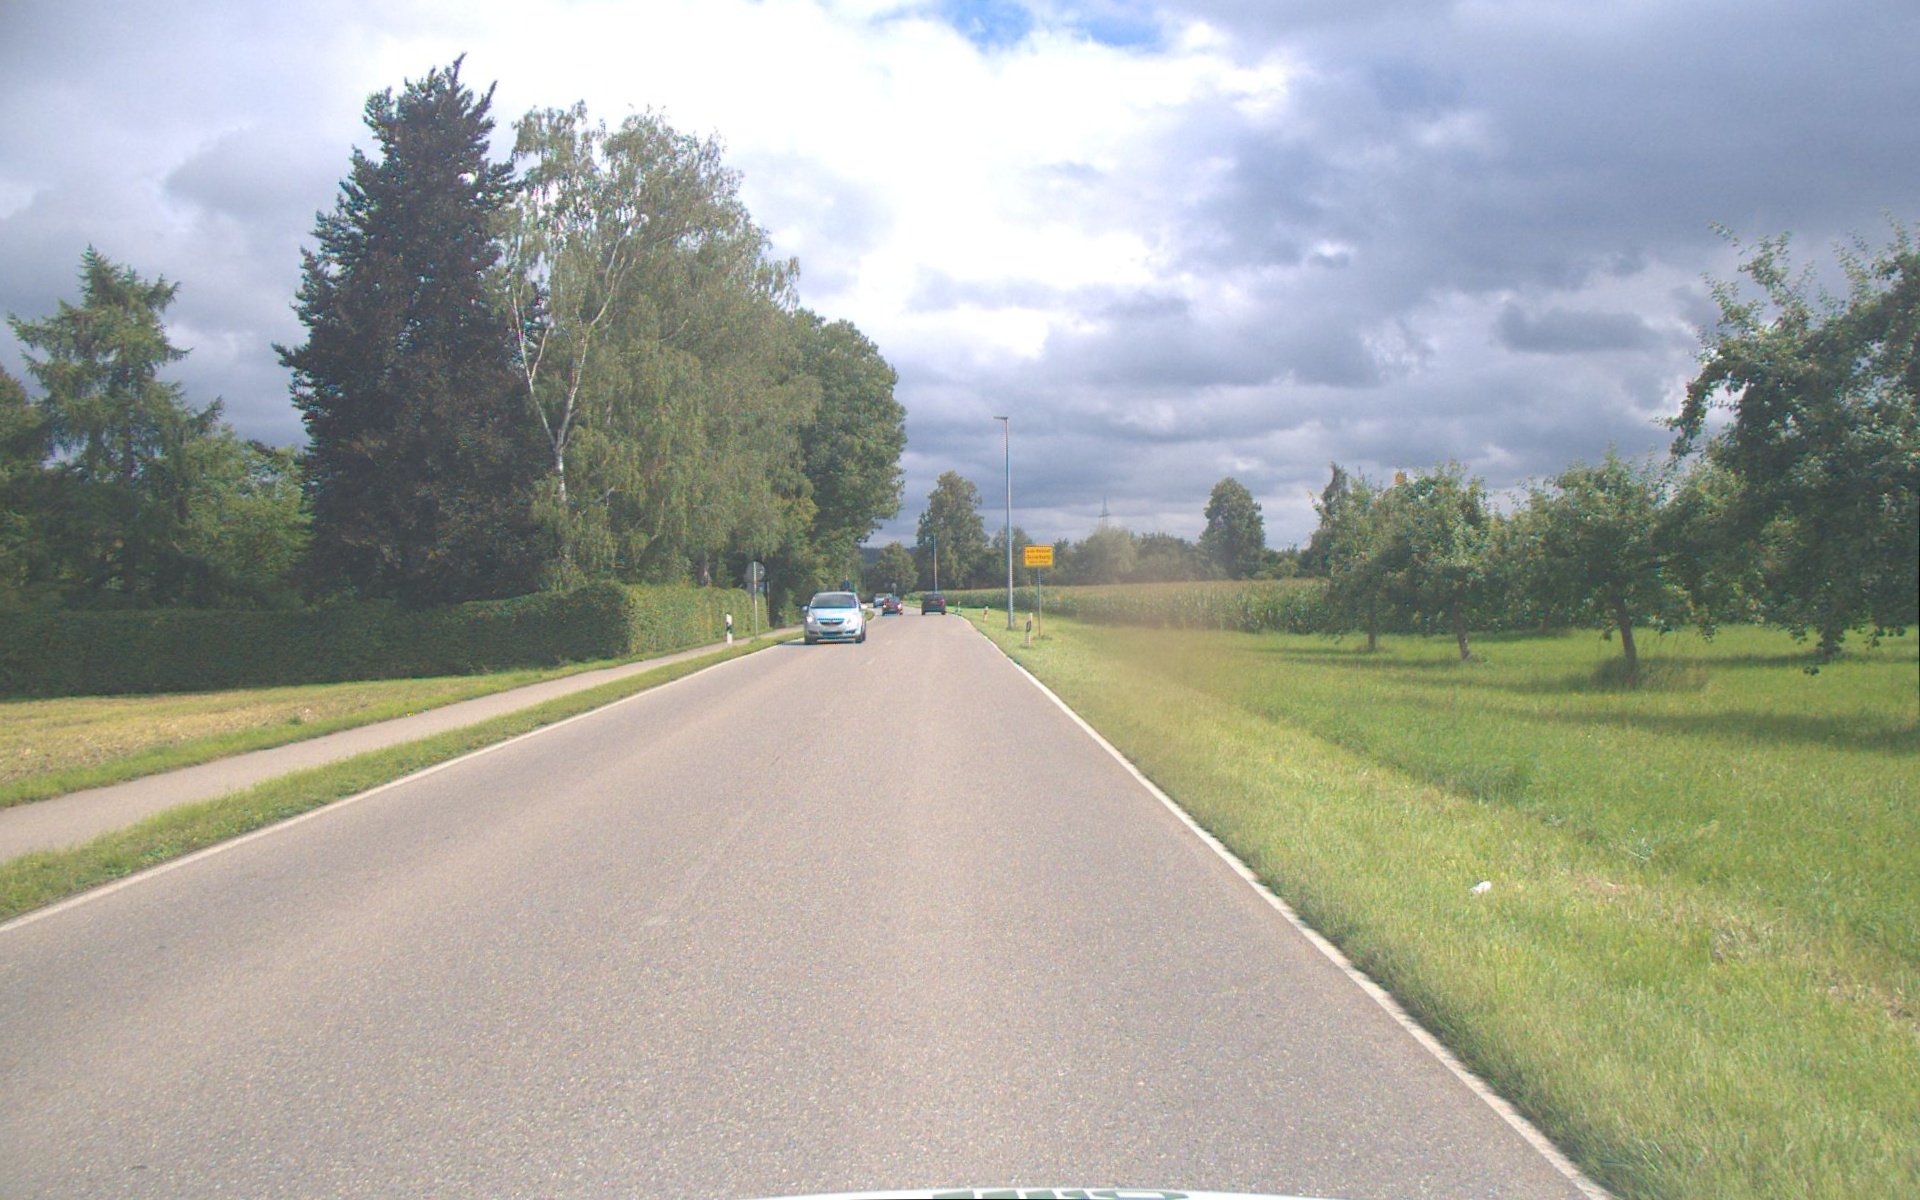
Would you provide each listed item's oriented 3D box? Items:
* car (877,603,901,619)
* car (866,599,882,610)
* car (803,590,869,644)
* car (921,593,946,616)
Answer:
[{"bbox_3d":[-5.717,0.885,133.455,1.710,1.243,3.542,-2,0,-1],"label":"car"},{"bbox_3d":[-10.220,0.528,196.698,1.710,1.243,3.542,-2,0,-1],"label":"car"},{"bbox_3d":[-3.567,0.466,48.221,1.660,1.484,3.542,-1,0,-1],"label":"car"},{"bbox_3d":[-2.059,0.301,128.754,1.868,1.695,3.999,-2,0,-1],"label":"car"}]
